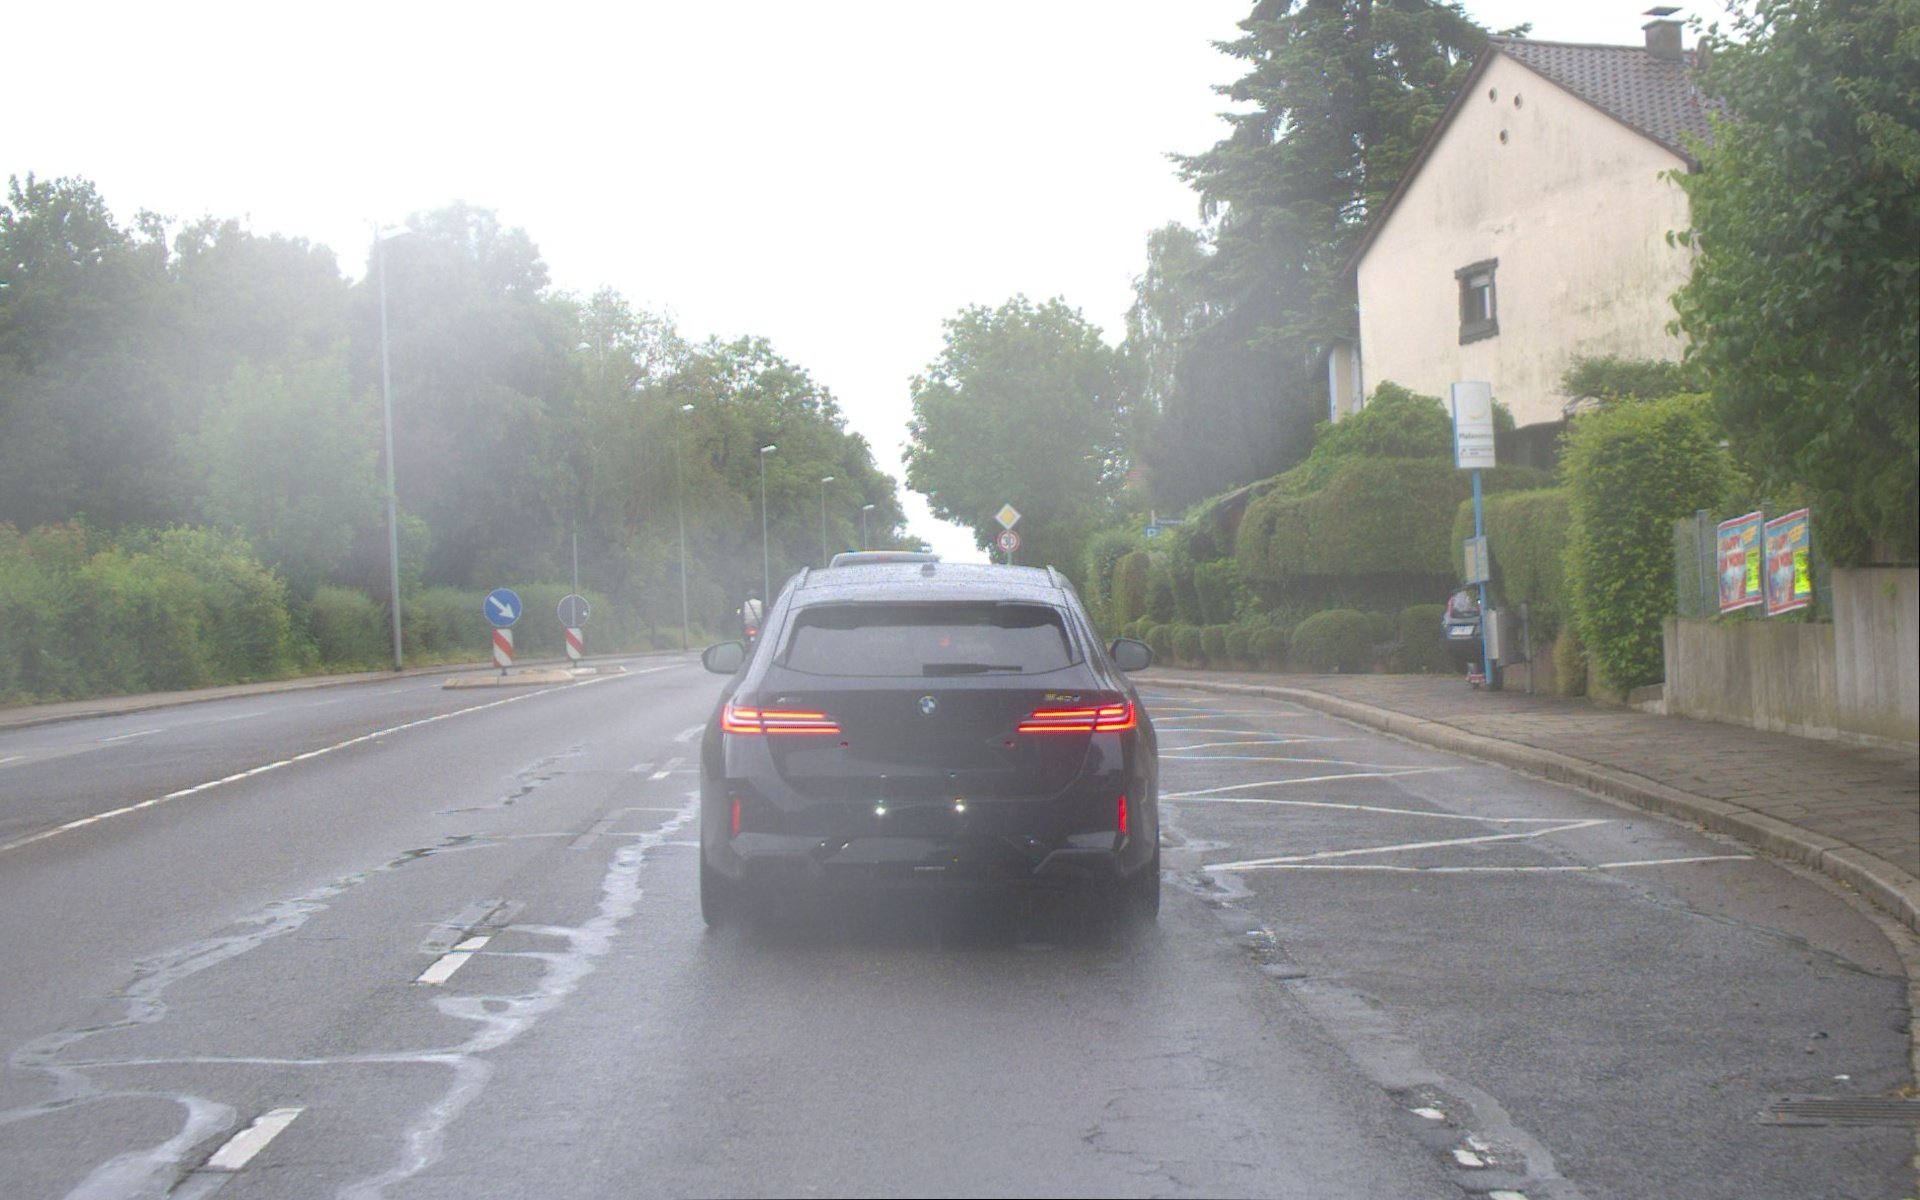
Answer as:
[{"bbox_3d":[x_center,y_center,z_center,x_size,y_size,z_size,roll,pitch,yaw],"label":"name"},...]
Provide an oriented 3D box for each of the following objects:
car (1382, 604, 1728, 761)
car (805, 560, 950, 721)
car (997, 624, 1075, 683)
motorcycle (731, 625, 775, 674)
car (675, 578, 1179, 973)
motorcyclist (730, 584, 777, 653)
[{"bbox_3d":[7.342,1.047,42.432,3.695,1.294,1.773,11,-6,-20],"label":"car"},{"bbox_3d":[-1.004,0.479,42.404,1.629,1.827,4.000,-2,0,-1],"label":"car"},{"bbox_3d":[1.982,1.366,89.399,1.935,1.437,4.407,-2,-1,2],"label":"car"},{"bbox_3d":[-4.757,1.141,79.132,0.876,1.120,2.741,0,-1,-1],"label":"motorcycle"},{"bbox_3d":[-0.119,0.681,15.024,1.897,1.484,4.000,0,-1,0],"label":"car"},{"bbox_3d":[-4.754,0.430,79.208,1.039,1.562,0.855,0,-1,-1],"label":"motorcyclist"}]
